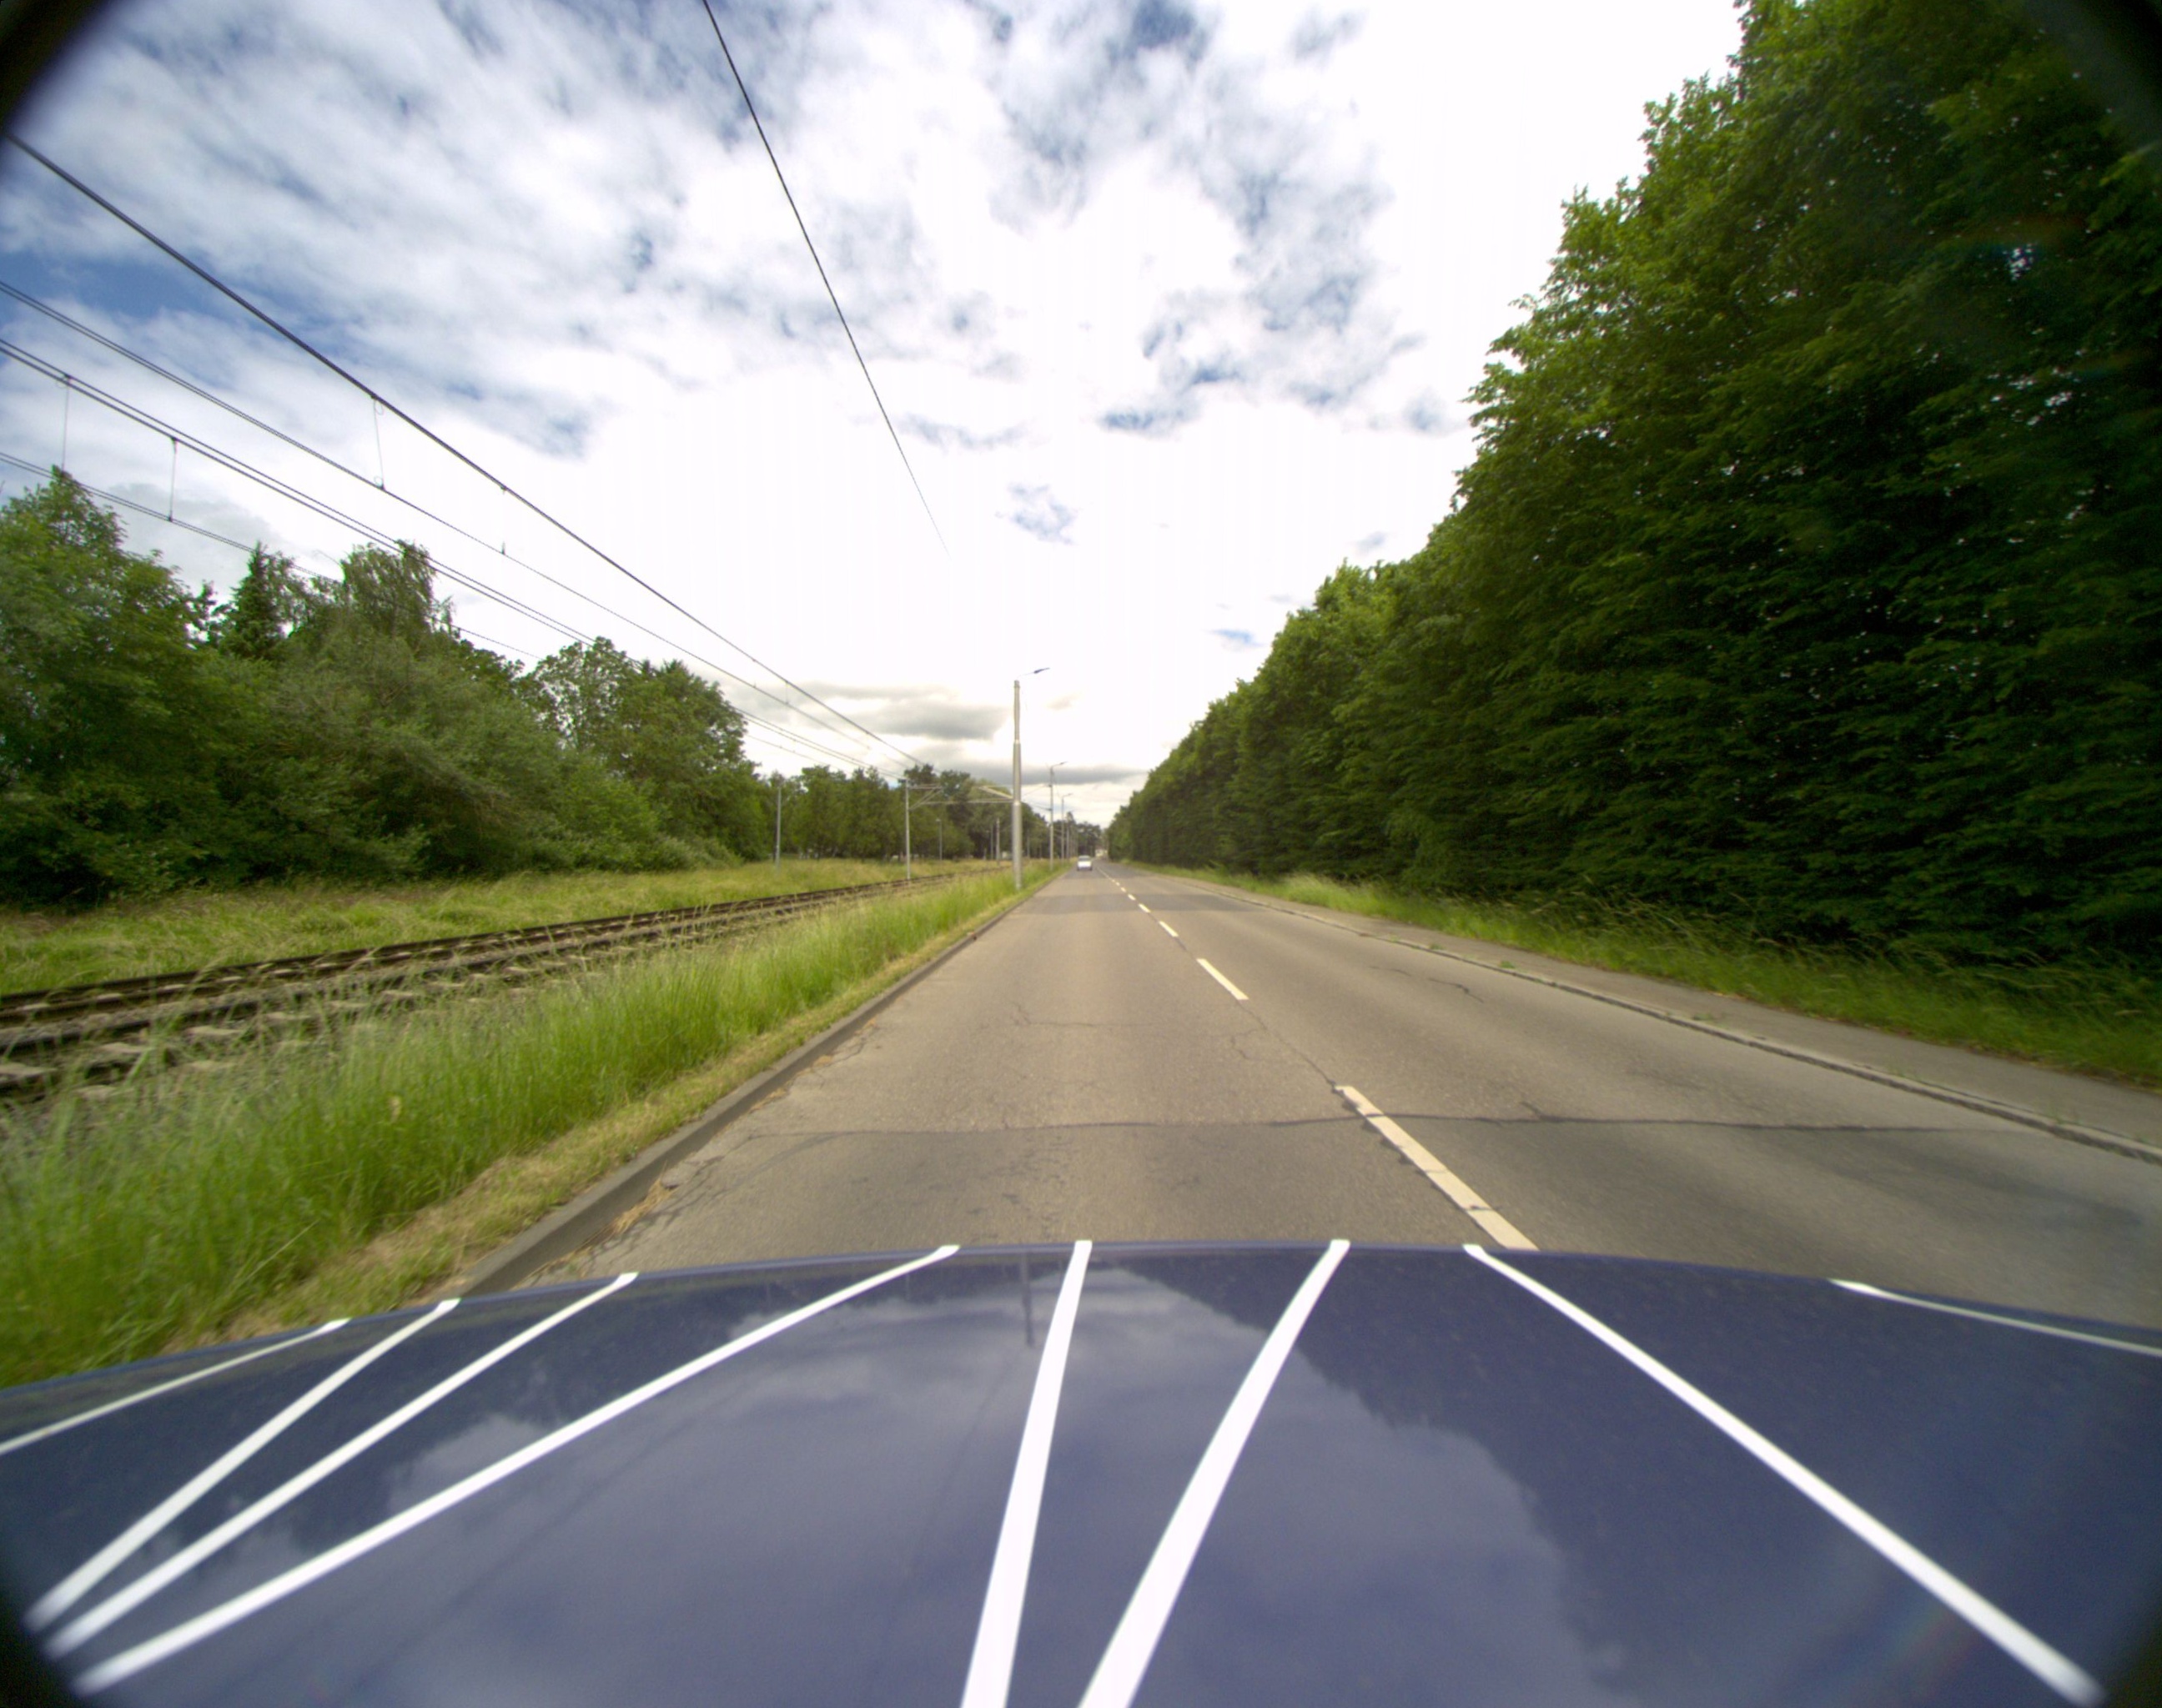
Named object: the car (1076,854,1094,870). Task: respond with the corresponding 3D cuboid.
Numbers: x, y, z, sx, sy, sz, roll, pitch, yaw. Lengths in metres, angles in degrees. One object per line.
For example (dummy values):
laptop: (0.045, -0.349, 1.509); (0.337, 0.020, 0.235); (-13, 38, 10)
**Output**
car: (0.402, 0.854, 84.931); (1.999, 1.679, 3.999); (0, 0, -1)
